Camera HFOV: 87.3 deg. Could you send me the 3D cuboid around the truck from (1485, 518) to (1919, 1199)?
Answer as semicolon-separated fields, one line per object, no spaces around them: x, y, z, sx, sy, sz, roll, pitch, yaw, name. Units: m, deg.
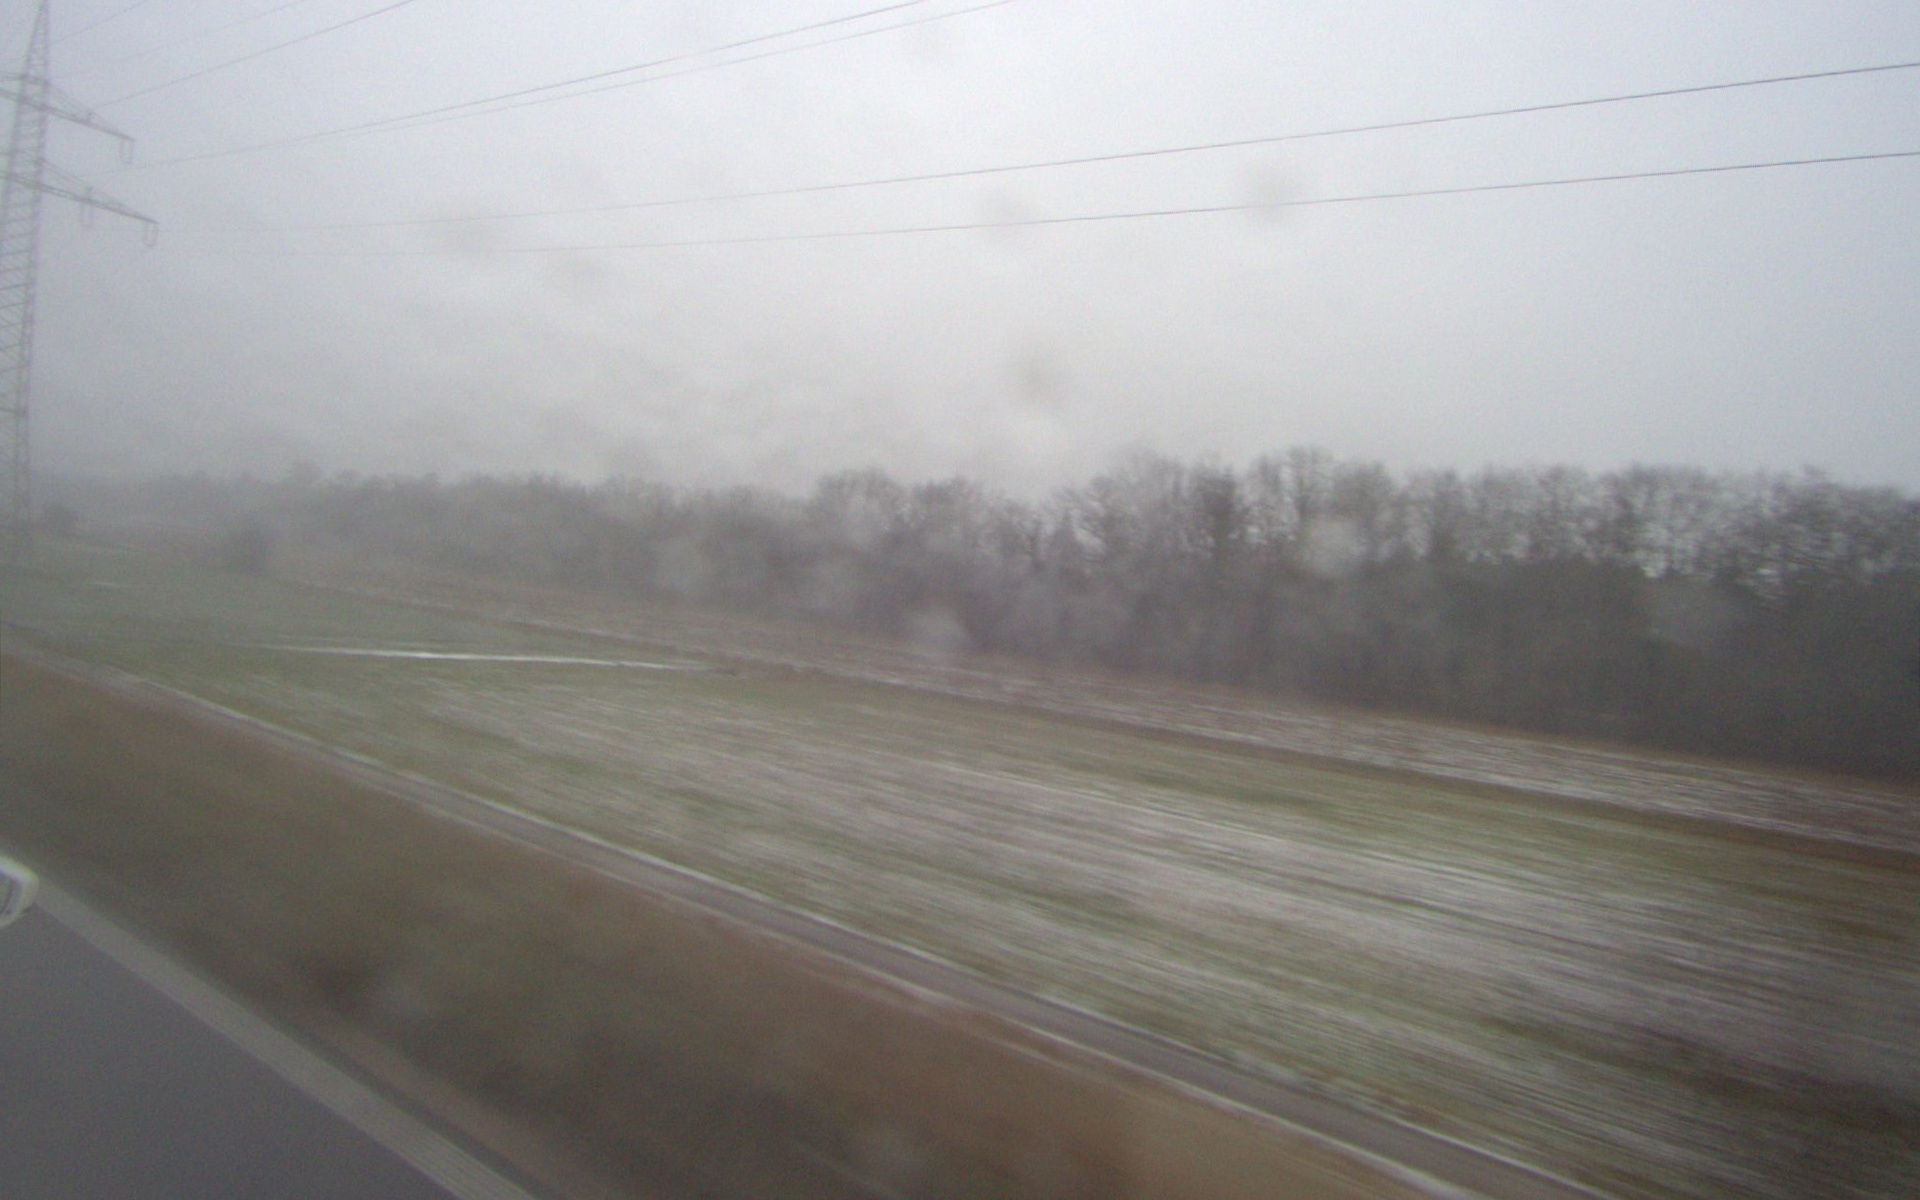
7.563;1.581;2.717;10.623;2.601;2.509;7;-1;30;truck
